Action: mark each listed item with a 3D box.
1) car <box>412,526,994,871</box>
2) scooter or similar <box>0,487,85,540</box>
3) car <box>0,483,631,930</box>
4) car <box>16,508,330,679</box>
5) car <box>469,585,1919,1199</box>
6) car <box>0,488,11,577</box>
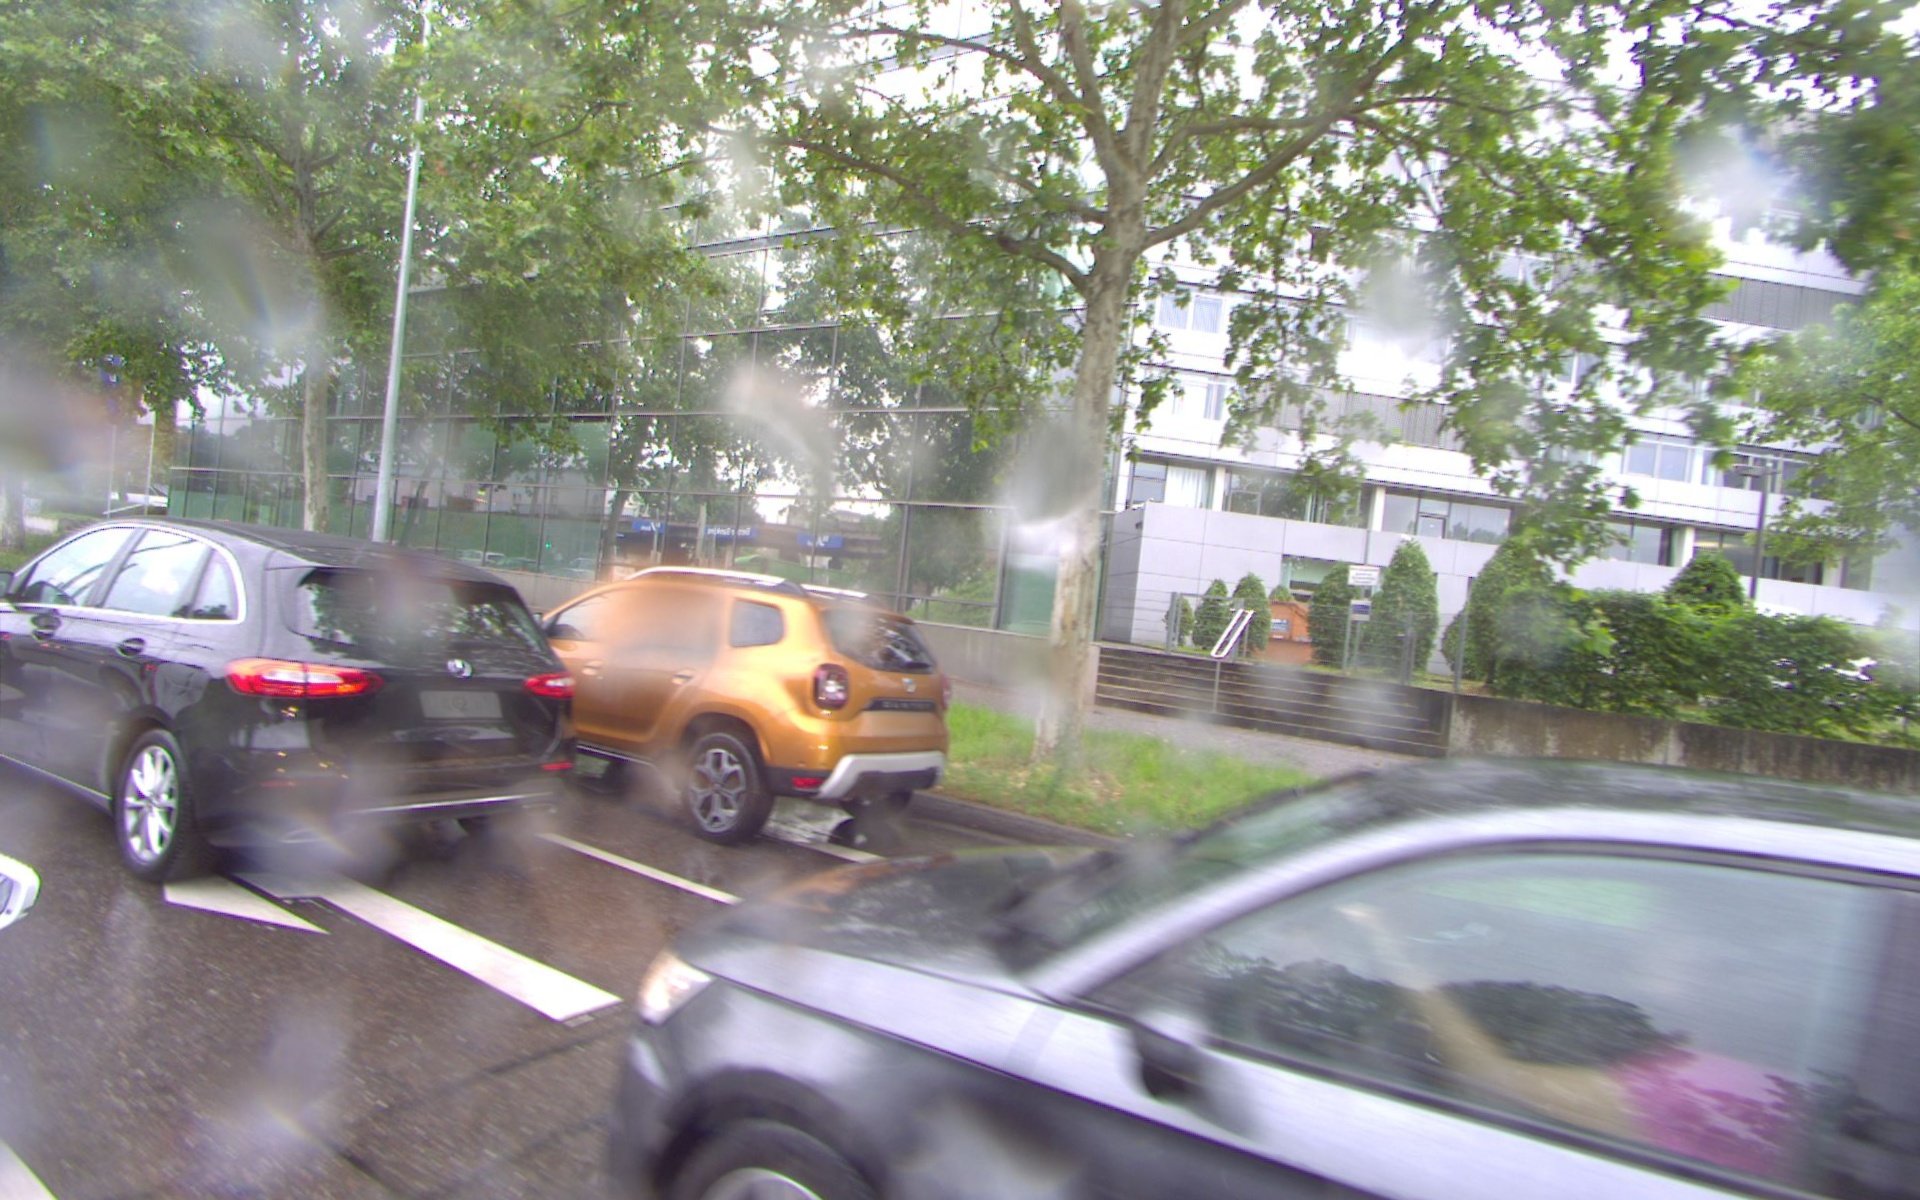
[{"bbox_3d":[-2.017,0.574,7.503,4.079,1.704,1.679,7,-2,32],"label":"car"},{"bbox_3d":[-54.127,-5.111,57.964,5.227,2.476,1.893,7,0,-9],"label":"scooter or similar"},{"bbox_3d":[-3.953,0.331,5.522,4.022,1.573,1.751,6,-1,31],"label":"car"},{"bbox_3d":[-8.881,-0.088,11.314,3.332,1.480,1.572,7,-1,31],"label":"car"},{"bbox_3d":[1.016,0.934,1.906,3.718,1.445,1.679,6,-1,32],"label":"car"},{"bbox_3d":[-19.032,-1.349,18.093,4.201,1.714,1.714,5,-2,32],"label":"car"}]
